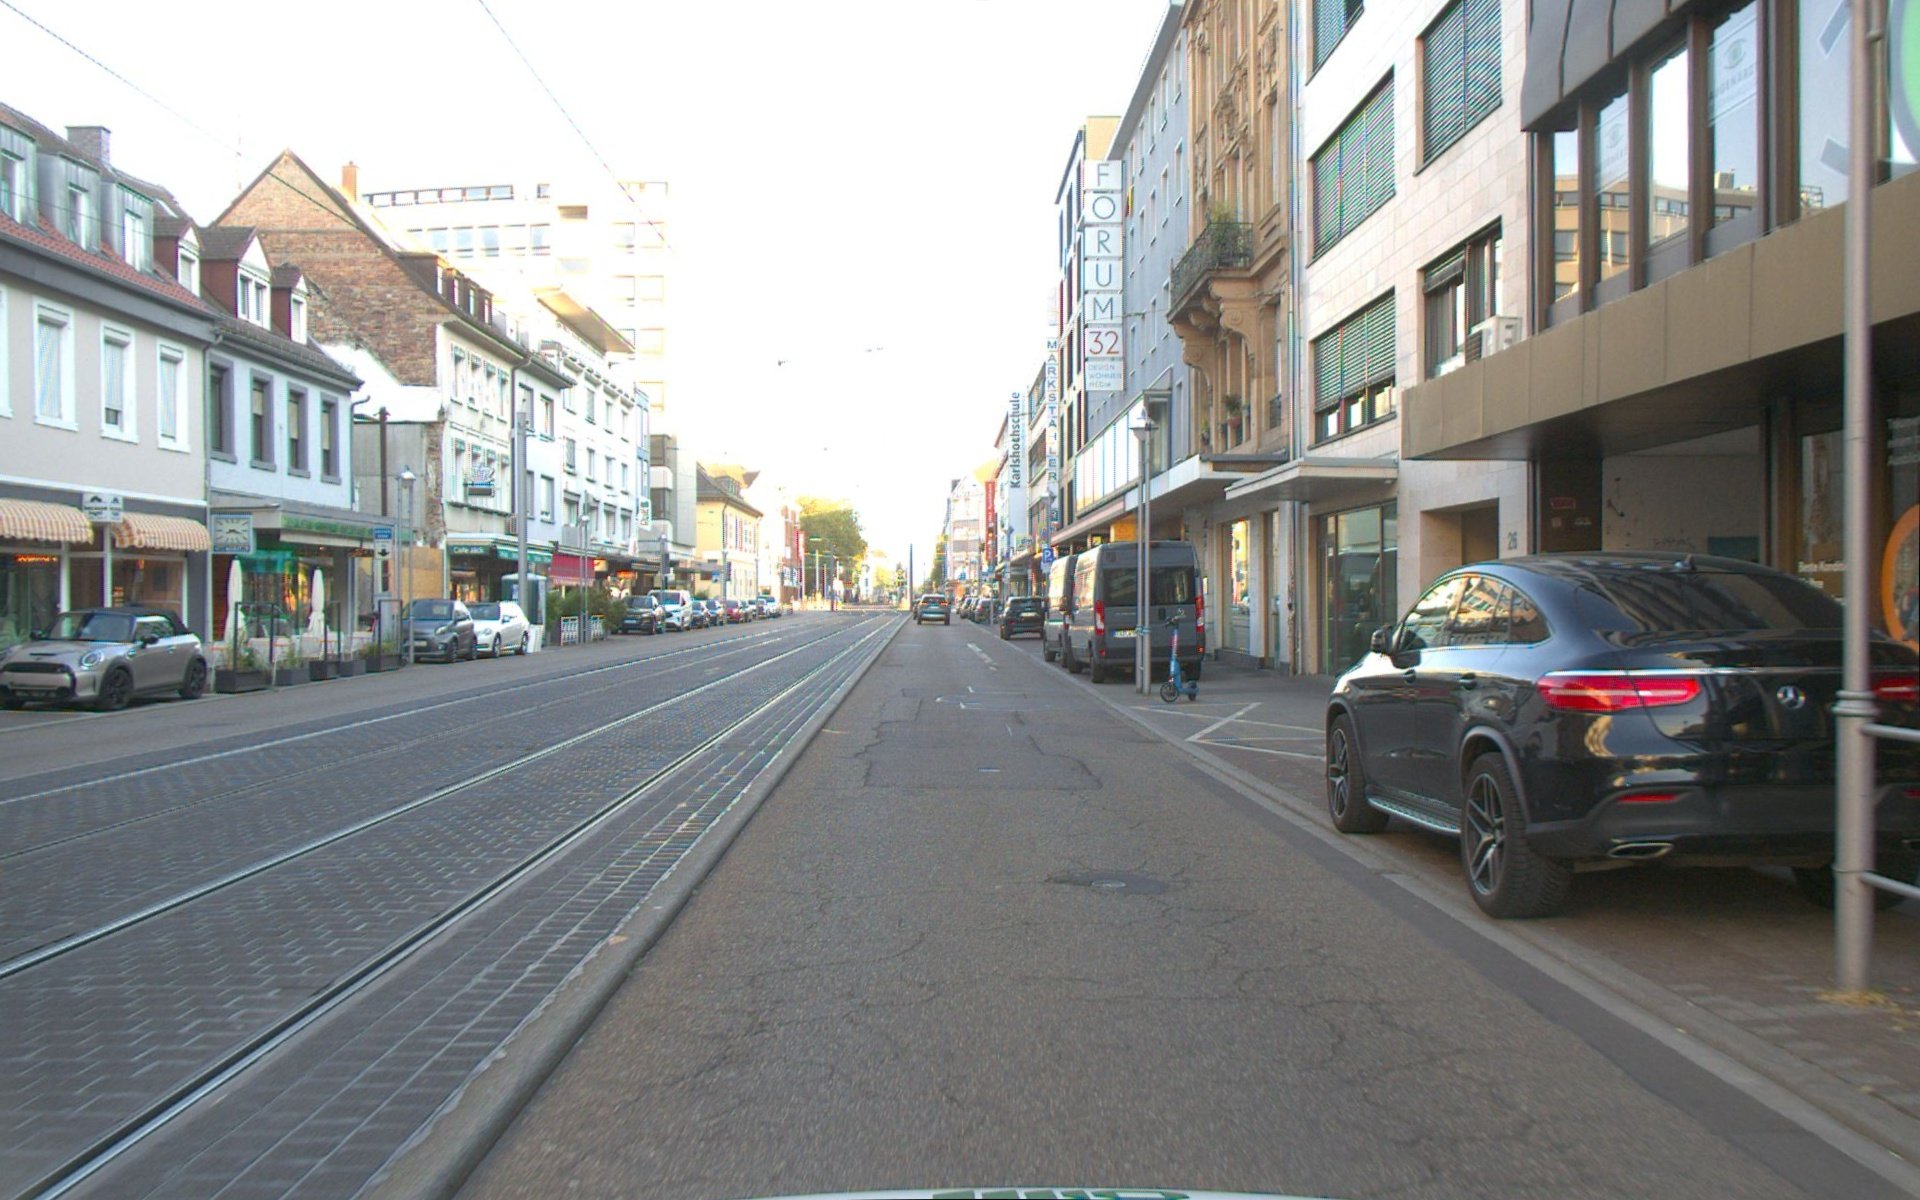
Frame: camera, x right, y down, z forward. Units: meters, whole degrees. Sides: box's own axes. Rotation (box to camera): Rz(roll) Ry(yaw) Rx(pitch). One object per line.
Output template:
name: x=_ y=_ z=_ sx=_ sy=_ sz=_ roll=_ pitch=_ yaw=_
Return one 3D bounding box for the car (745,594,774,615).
car: x=-14.790 y=0.352 z=122.302 sx=1.755 sy=1.475 sz=3.890 roll=2 pitch=0 yaw=-2

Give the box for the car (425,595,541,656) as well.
car: x=-13.087 y=0.675 z=45.706 sx=1.812 sy=1.531 sz=4.841 roll=2 pitch=0 yaw=-1

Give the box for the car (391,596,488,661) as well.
car: x=-12.923 y=0.686 z=41.189 sx=1.559 sy=1.531 sz=2.811 roll=2 pitch=0 yaw=-2

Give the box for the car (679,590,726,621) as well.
car: x=-13.698 y=0.276 z=88.181 sx=1.879 sy=1.547 sz=4.628 roll=2 pitch=0 yaw=-2

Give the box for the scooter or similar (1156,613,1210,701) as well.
scooter or similar: x=3.321 y=0.832 z=24.584 sx=0.347 sy=1.245 sz=1.113 roll=-3 pitch=0 yaw=31

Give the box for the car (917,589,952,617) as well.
car: x=-1.435 y=0.154 z=94.135 sx=1.904 sy=1.572 sz=4.544 roll=0 pitch=0 yaw=0

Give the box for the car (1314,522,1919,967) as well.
car: x=3.477 y=0.580 z=9.153 sx=1.944 sy=1.765 sz=4.670 roll=-3 pitch=0 yaw=0

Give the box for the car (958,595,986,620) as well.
car: x=0.883 y=0.512 z=121.072 sx=1.904 sy=1.733 sz=4.544 roll=-2 pitch=0 yaw=0

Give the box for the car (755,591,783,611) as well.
car: x=-14.806 y=0.098 z=128.350 sx=1.755 sy=1.475 sz=3.890 roll=2 pitch=0 yaw=-2

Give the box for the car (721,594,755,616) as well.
car: x=-14.655 y=0.297 z=109.235 sx=1.755 sy=1.362 sz=3.890 roll=2 pitch=0 yaw=-2

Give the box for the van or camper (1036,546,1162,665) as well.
van or camper: x=3.144 y=0.120 z=38.551 sx=2.145 sy=2.468 sz=5.515 roll=-3 pitch=0 yaw=-2

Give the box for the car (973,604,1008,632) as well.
car: x=1.814 y=1.054 z=99.565 sx=1.904 sy=1.572 sz=4.544 roll=-2 pitch=0 yaw=0

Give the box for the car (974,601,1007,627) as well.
car: x=1.904 y=0.873 z=105.067 sx=1.904 sy=1.572 sz=4.544 roll=-2 pitch=0 yaw=0

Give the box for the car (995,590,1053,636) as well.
car: x=2.357 y=0.457 z=61.558 sx=1.904 sy=1.572 sz=4.544 roll=-2 pitch=0 yaw=0

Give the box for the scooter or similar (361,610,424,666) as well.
scooter or similar: x=-12.974 y=0.864 z=37.808 sx=1.287 sy=1.226 sz=0.294 roll=2 pitch=0 yaw=-1

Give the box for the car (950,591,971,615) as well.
car: x=0.076 y=0.245 z=159.551 sx=1.904 sy=2.183 sz=4.544 roll=-2 pitch=0 yaw=0

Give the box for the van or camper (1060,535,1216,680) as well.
van or camper: x=3.340 y=0.124 z=32.319 sx=2.144 sy=2.468 sz=6.130 roll=-3 pitch=0 yaw=-1

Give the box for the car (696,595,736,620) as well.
car: x=-13.905 y=0.410 z=94.465 sx=1.755 sy=1.362 sz=3.890 roll=2 pitch=0 yaw=-2

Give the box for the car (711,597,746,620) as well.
car: x=-14.576 y=0.497 z=104.245 sx=1.755 sy=1.362 sz=3.890 roll=2 pitch=0 yaw=-2

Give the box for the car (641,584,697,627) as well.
car: x=-14.069 y=0.262 z=80.228 sx=1.878 sy=1.969 sz=4.841 roll=2 pitch=0 yaw=-1

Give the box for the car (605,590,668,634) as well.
car: x=-14.082 y=0.514 z=72.287 sx=1.878 sy=1.794 sz=4.429 roll=2 pitch=0 yaw=-1

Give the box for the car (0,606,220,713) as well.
car: x=-12.920 y=0.840 z=25.016 sx=1.699 sy=1.414 sz=3.864 roll=2 pitch=0 yaw=-1

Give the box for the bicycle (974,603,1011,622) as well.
bicycle: x=1.867 y=0.719 z=95.876 sx=2.077 sy=1.109 sz=0.591 roll=-1 pitch=0 yaw=-4
